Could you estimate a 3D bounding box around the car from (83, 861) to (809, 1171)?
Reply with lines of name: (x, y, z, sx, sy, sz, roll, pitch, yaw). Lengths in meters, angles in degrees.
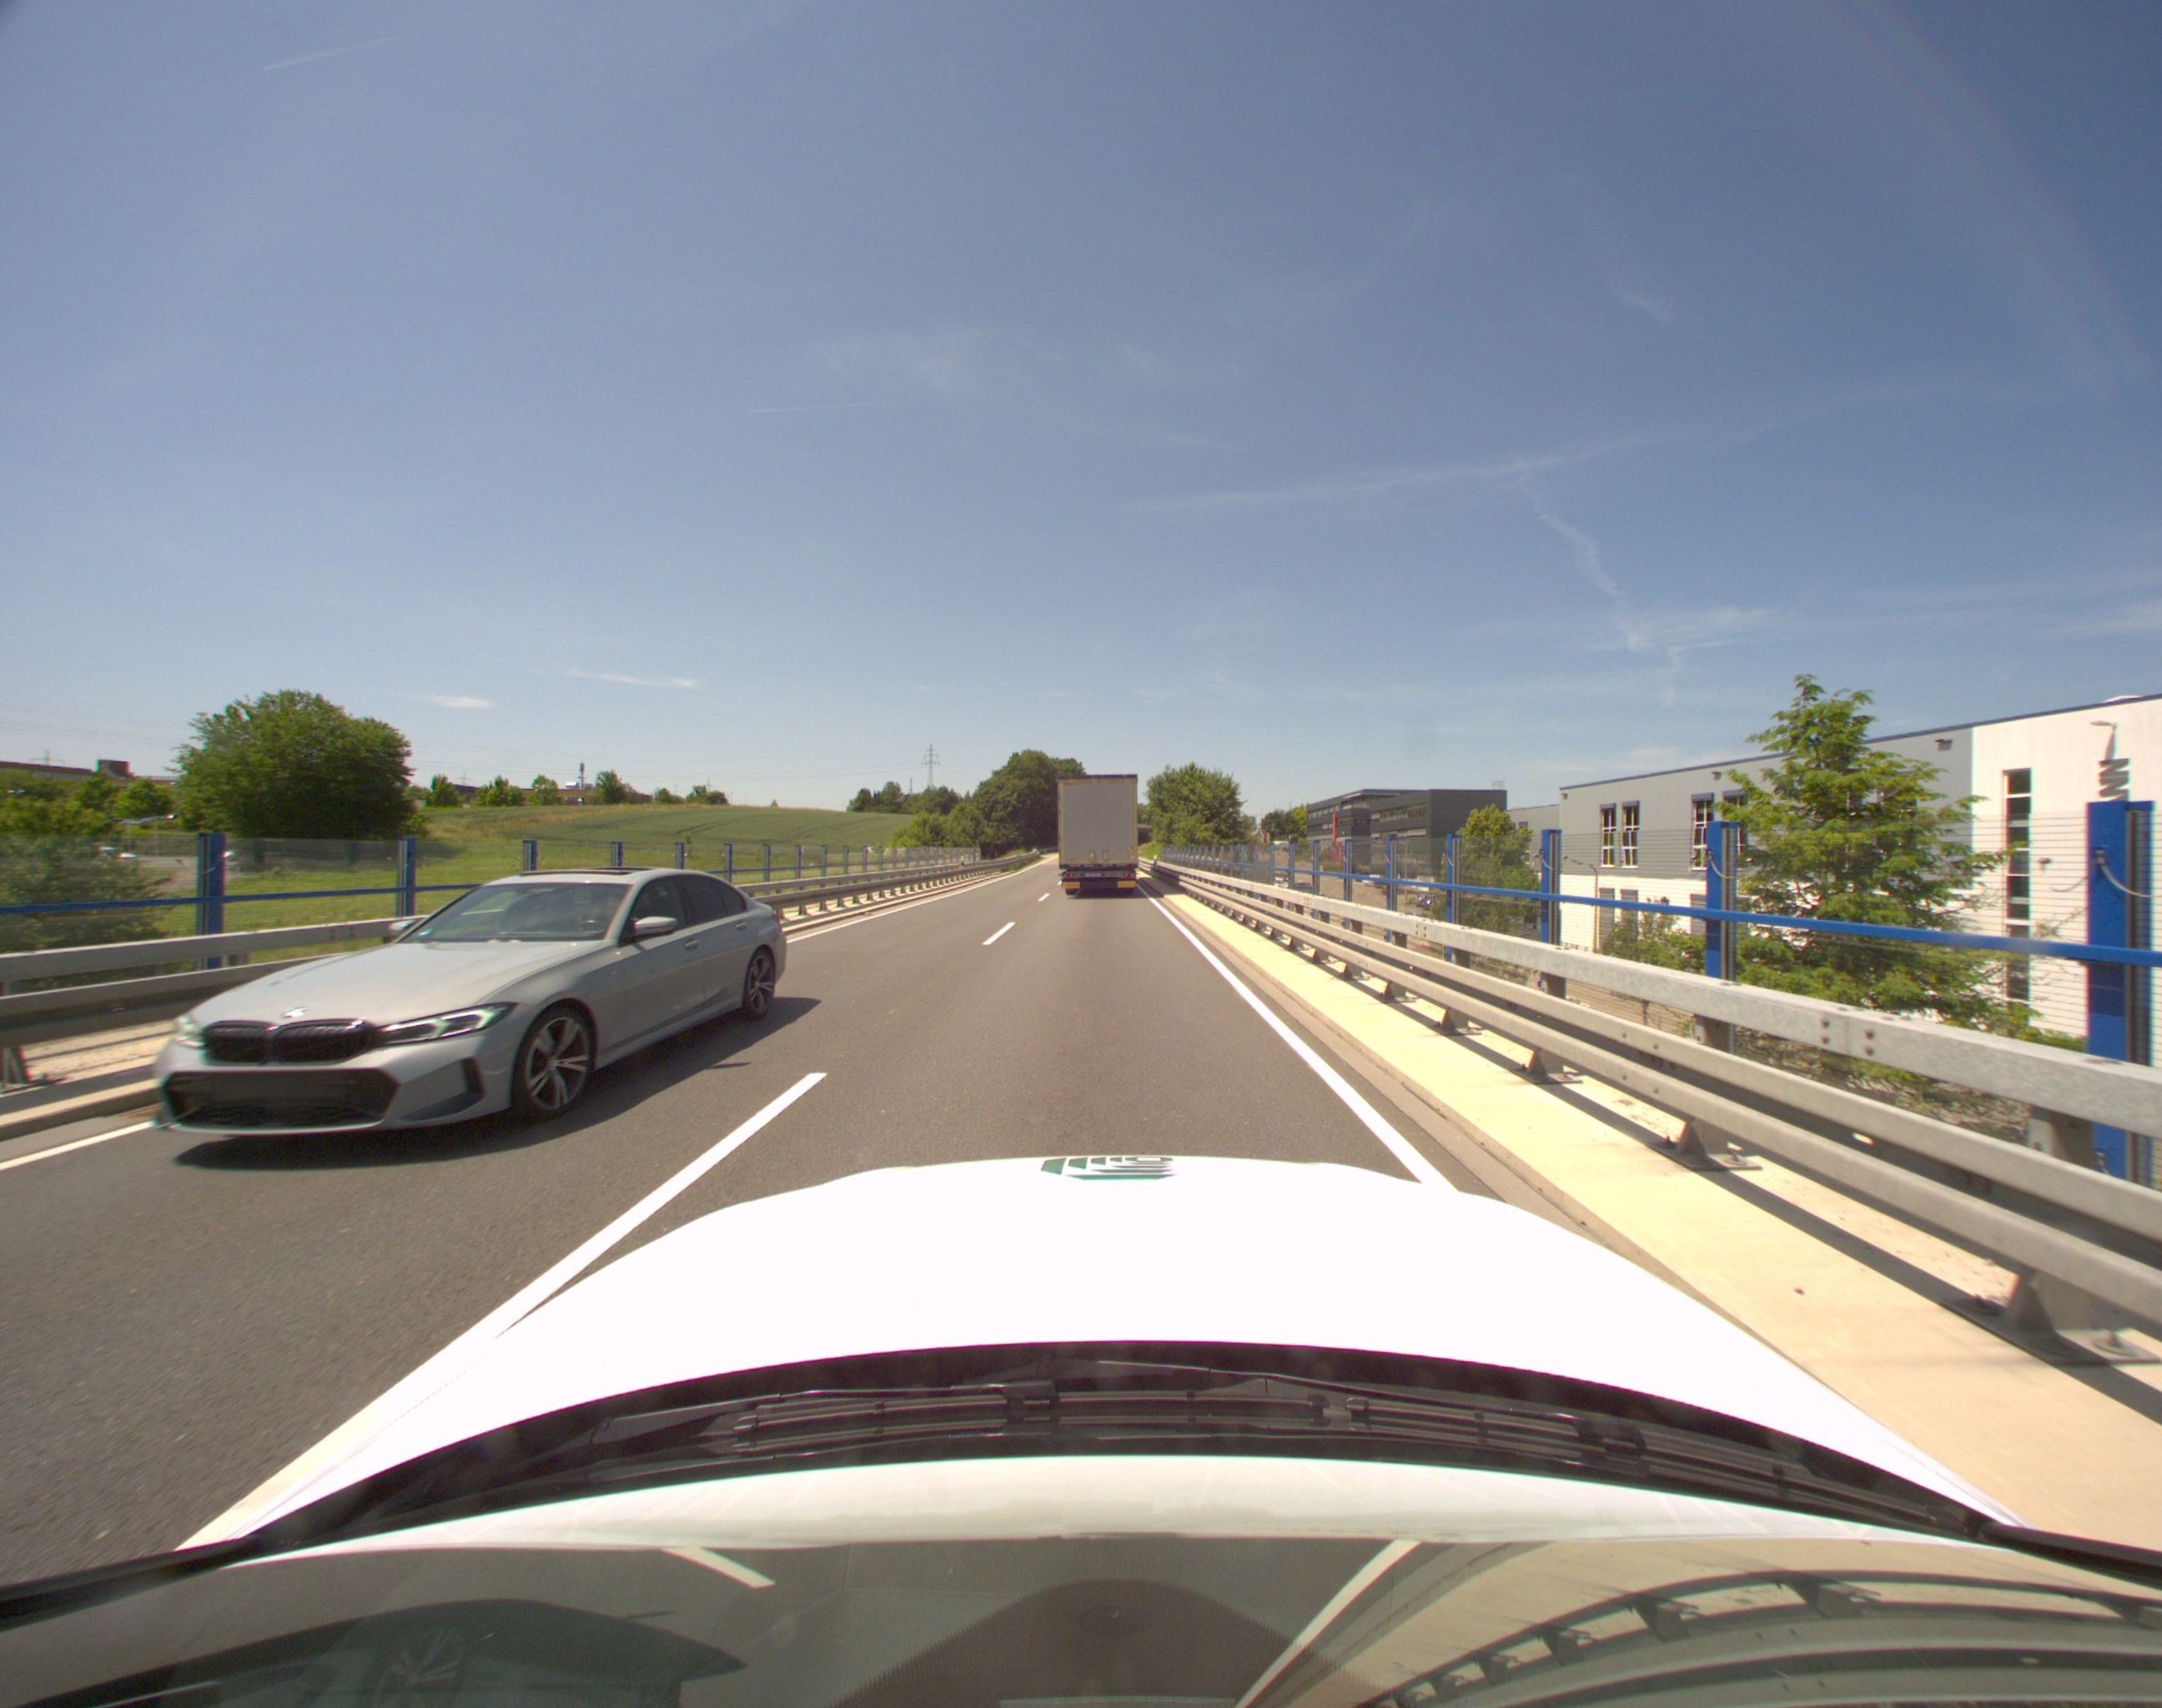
car: (-3.874, 0.799, 6.344, 1.775, 1.436, 4.835, -1, 0, 1)

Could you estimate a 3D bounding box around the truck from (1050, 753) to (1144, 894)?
truck: (0.643, -0.863, 30.452, 2.855, 4.360, 9.791, -1, -1, 2)
